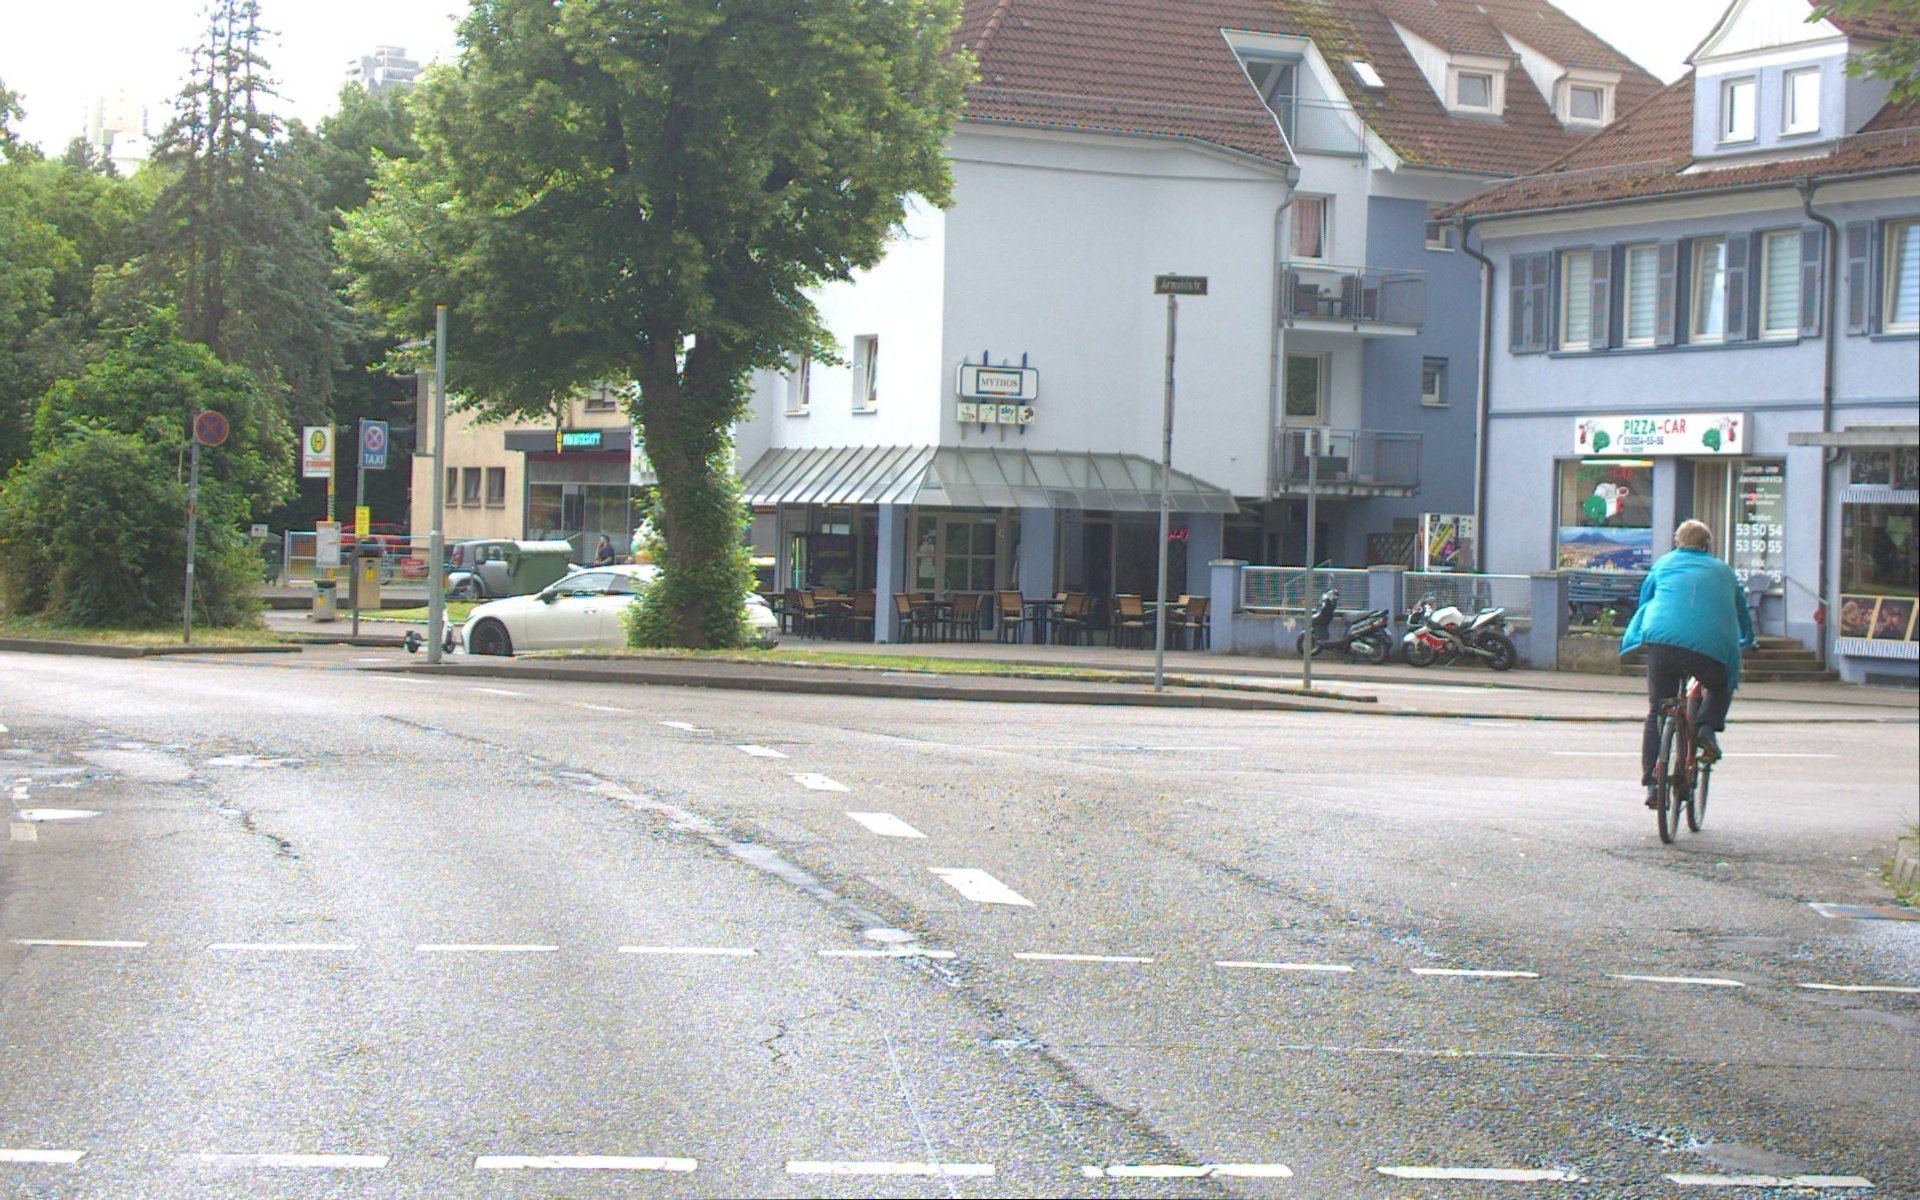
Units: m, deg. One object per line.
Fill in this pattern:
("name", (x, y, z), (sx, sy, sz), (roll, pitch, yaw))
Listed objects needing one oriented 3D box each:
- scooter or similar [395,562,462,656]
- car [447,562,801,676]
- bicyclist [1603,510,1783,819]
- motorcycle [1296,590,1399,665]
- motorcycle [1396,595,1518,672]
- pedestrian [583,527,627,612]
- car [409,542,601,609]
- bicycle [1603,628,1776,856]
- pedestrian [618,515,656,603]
("scooter or similar", (-6.827, 0.106, 44.187), (0.442, 1.171, 1.437), (1, 1, 8))
("car", (-4.656, 0.237, 47.370), (4.708, 1.405, 1.899), (2, 1, 34))
("bicyclist", (4.048, 0.339, 19.049), (0.915, 1.646, 0.988), (1, 1, 11))
("motorcycle", (5.846, 0.405, 51.924), (1.458, 1.085, 0.523), (1, 1, 34))
("motorcycle", (7.251, 0.483, 50.178), (1.628, 1.085, 0.626), (1, 1, 31))
("pedestrian", (-8.535, -0.741, 82.617), (0.837, 2.007, 1.056), (1, 1, -15))
("car", (-10.214, -0.550, 77.147), (3.936, 1.437, 1.753), (1, 1, -21))
("bicycle", (4.063, 0.760, 19.203), (0.874, 1.145, 1.952), (1, 1, 12))
("pedestrian", (-5.706, -0.720, 60.804), (0.543, 1.554, 0.467), (1, 0, 12))
